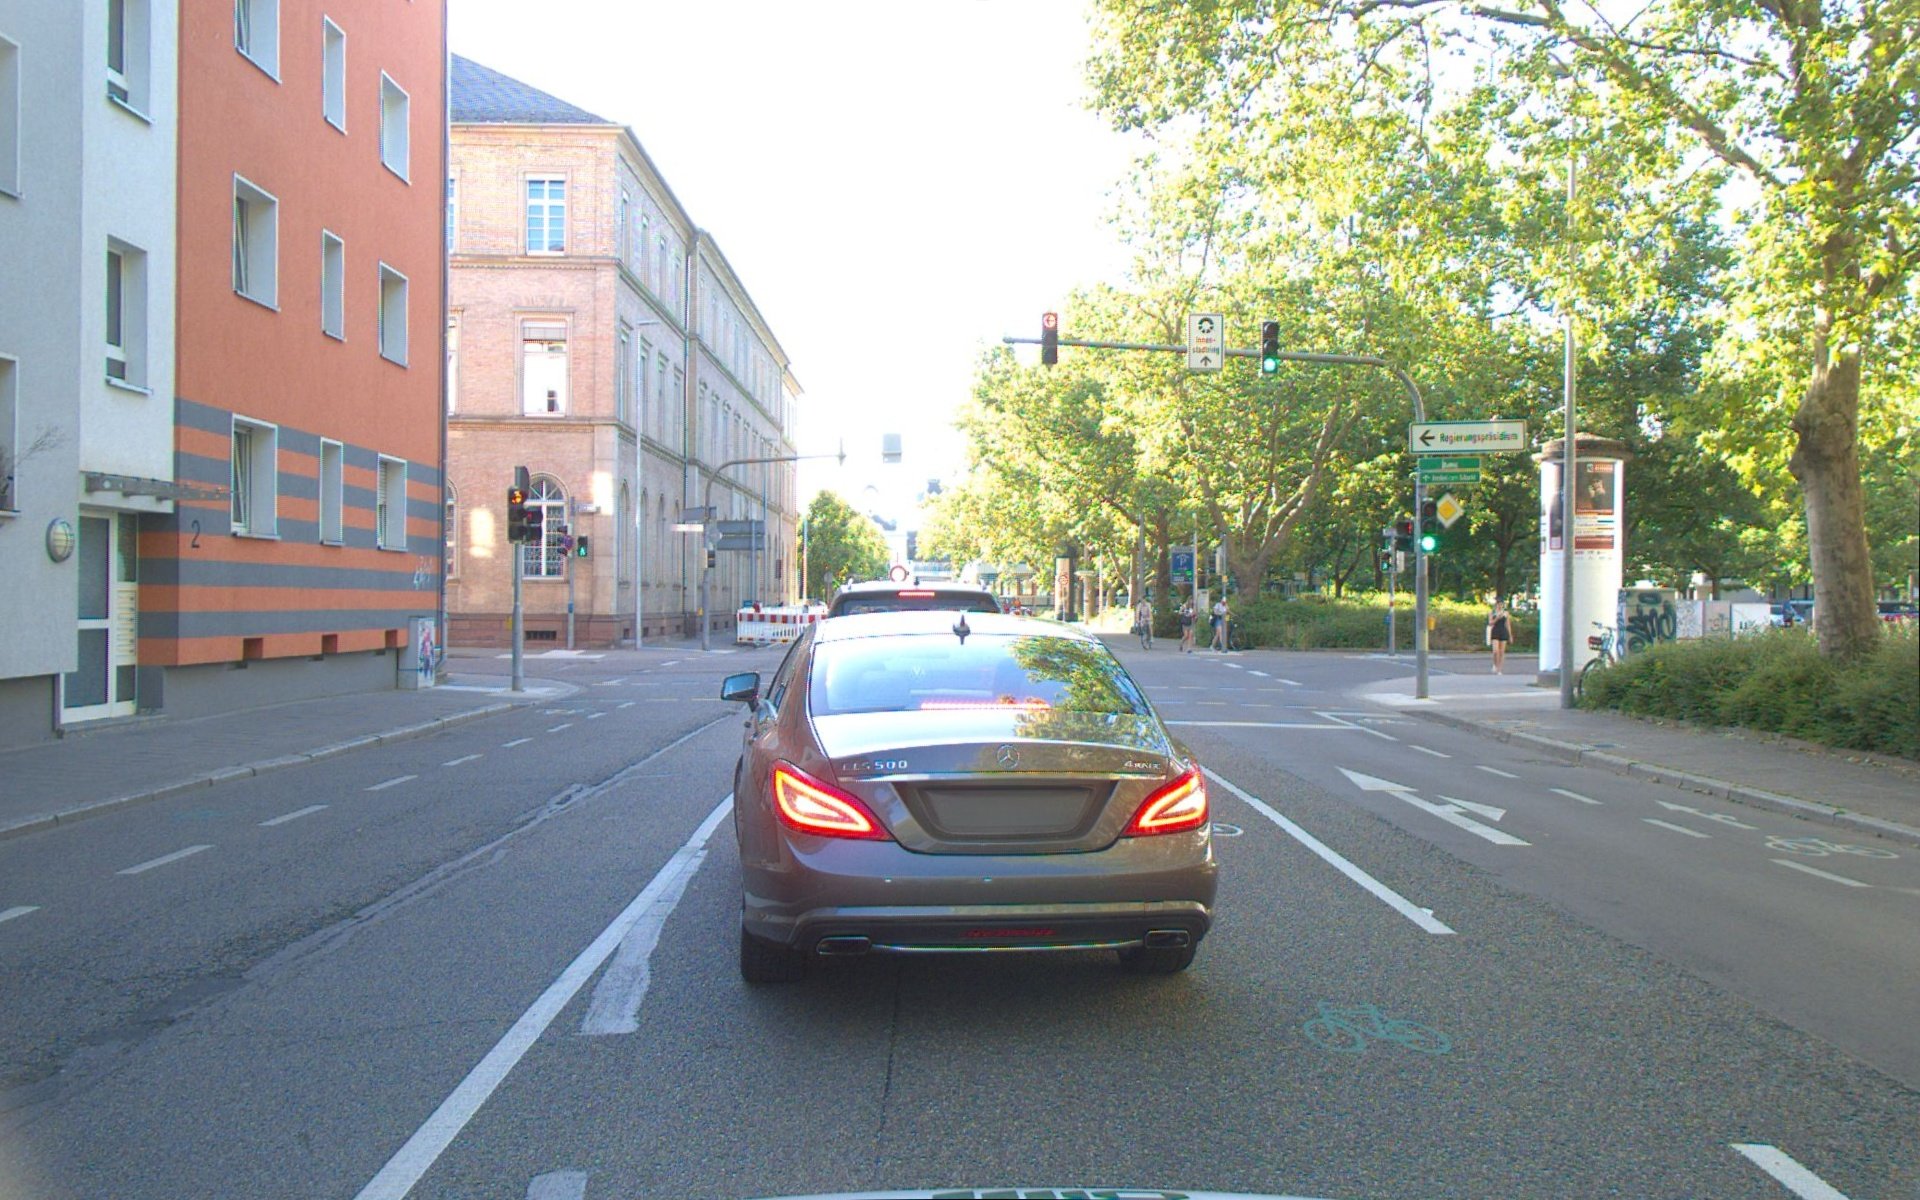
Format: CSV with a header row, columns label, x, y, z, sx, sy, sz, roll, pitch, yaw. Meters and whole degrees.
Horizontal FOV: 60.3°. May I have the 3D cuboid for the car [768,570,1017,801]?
label,x,y,z,sx,sy,sz,roll,pitch,yaw
car,-0.451,0.616,13.773,1.772,1.641,4.000,0,0,1

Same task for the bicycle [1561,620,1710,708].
label,x,y,z,sx,sy,sz,roll,pitch,yaw
bicycle,9.693,0.912,23.753,1.936,1.210,0.528,1,-1,-2

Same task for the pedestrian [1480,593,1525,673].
label,x,y,z,sx,sy,sz,roll,pitch,yaw
pedestrian,11.525,0.701,35.171,0.781,1.659,0.908,1,-1,11

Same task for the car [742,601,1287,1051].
label,x,y,z,sx,sy,sz,roll,pitch,yaw
car,-0.073,0.751,7.715,1.808,1.454,4.510,1,0,-7

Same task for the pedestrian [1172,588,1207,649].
label,x,y,z,sx,sy,sz,roll,pitch,yaw
pedestrian,7.070,0.570,51.036,0.722,1.840,0.903,0,-2,-22

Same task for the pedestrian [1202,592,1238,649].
label,x,y,z,sx,sy,sz,roll,pitch,yaw
pedestrian,7.981,0.623,50.785,0.675,1.727,0.962,1,-1,-26

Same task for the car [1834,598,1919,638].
label,x,y,z,sx,sy,sz,roll,pitch,yaw
car,36.259,0.698,65.143,1.596,1.508,3.794,1,0,-2

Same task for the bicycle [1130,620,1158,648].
label,x,y,z,sx,sy,sz,roll,pitch,yaw
bicycle,6.159,1.127,55.291,0.536,0.906,1.868,1,0,20

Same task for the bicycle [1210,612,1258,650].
label,x,y,z,sx,sy,sz,roll,pitch,yaw
bicycle,8.426,0.939,50.918,0.518,1.119,1.725,1,0,-28

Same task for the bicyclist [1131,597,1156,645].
label,x,y,z,sx,sy,sz,roll,pitch,yaw
bicyclist,6.119,0.690,55.164,0.634,1.586,0.807,1,-1,20

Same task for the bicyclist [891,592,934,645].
label,x,y,z,sx,sy,sz,roll,pitch,yaw
bicyclist,-1.370,0.545,48.105,0.943,1.526,0.812,1,-1,-37
